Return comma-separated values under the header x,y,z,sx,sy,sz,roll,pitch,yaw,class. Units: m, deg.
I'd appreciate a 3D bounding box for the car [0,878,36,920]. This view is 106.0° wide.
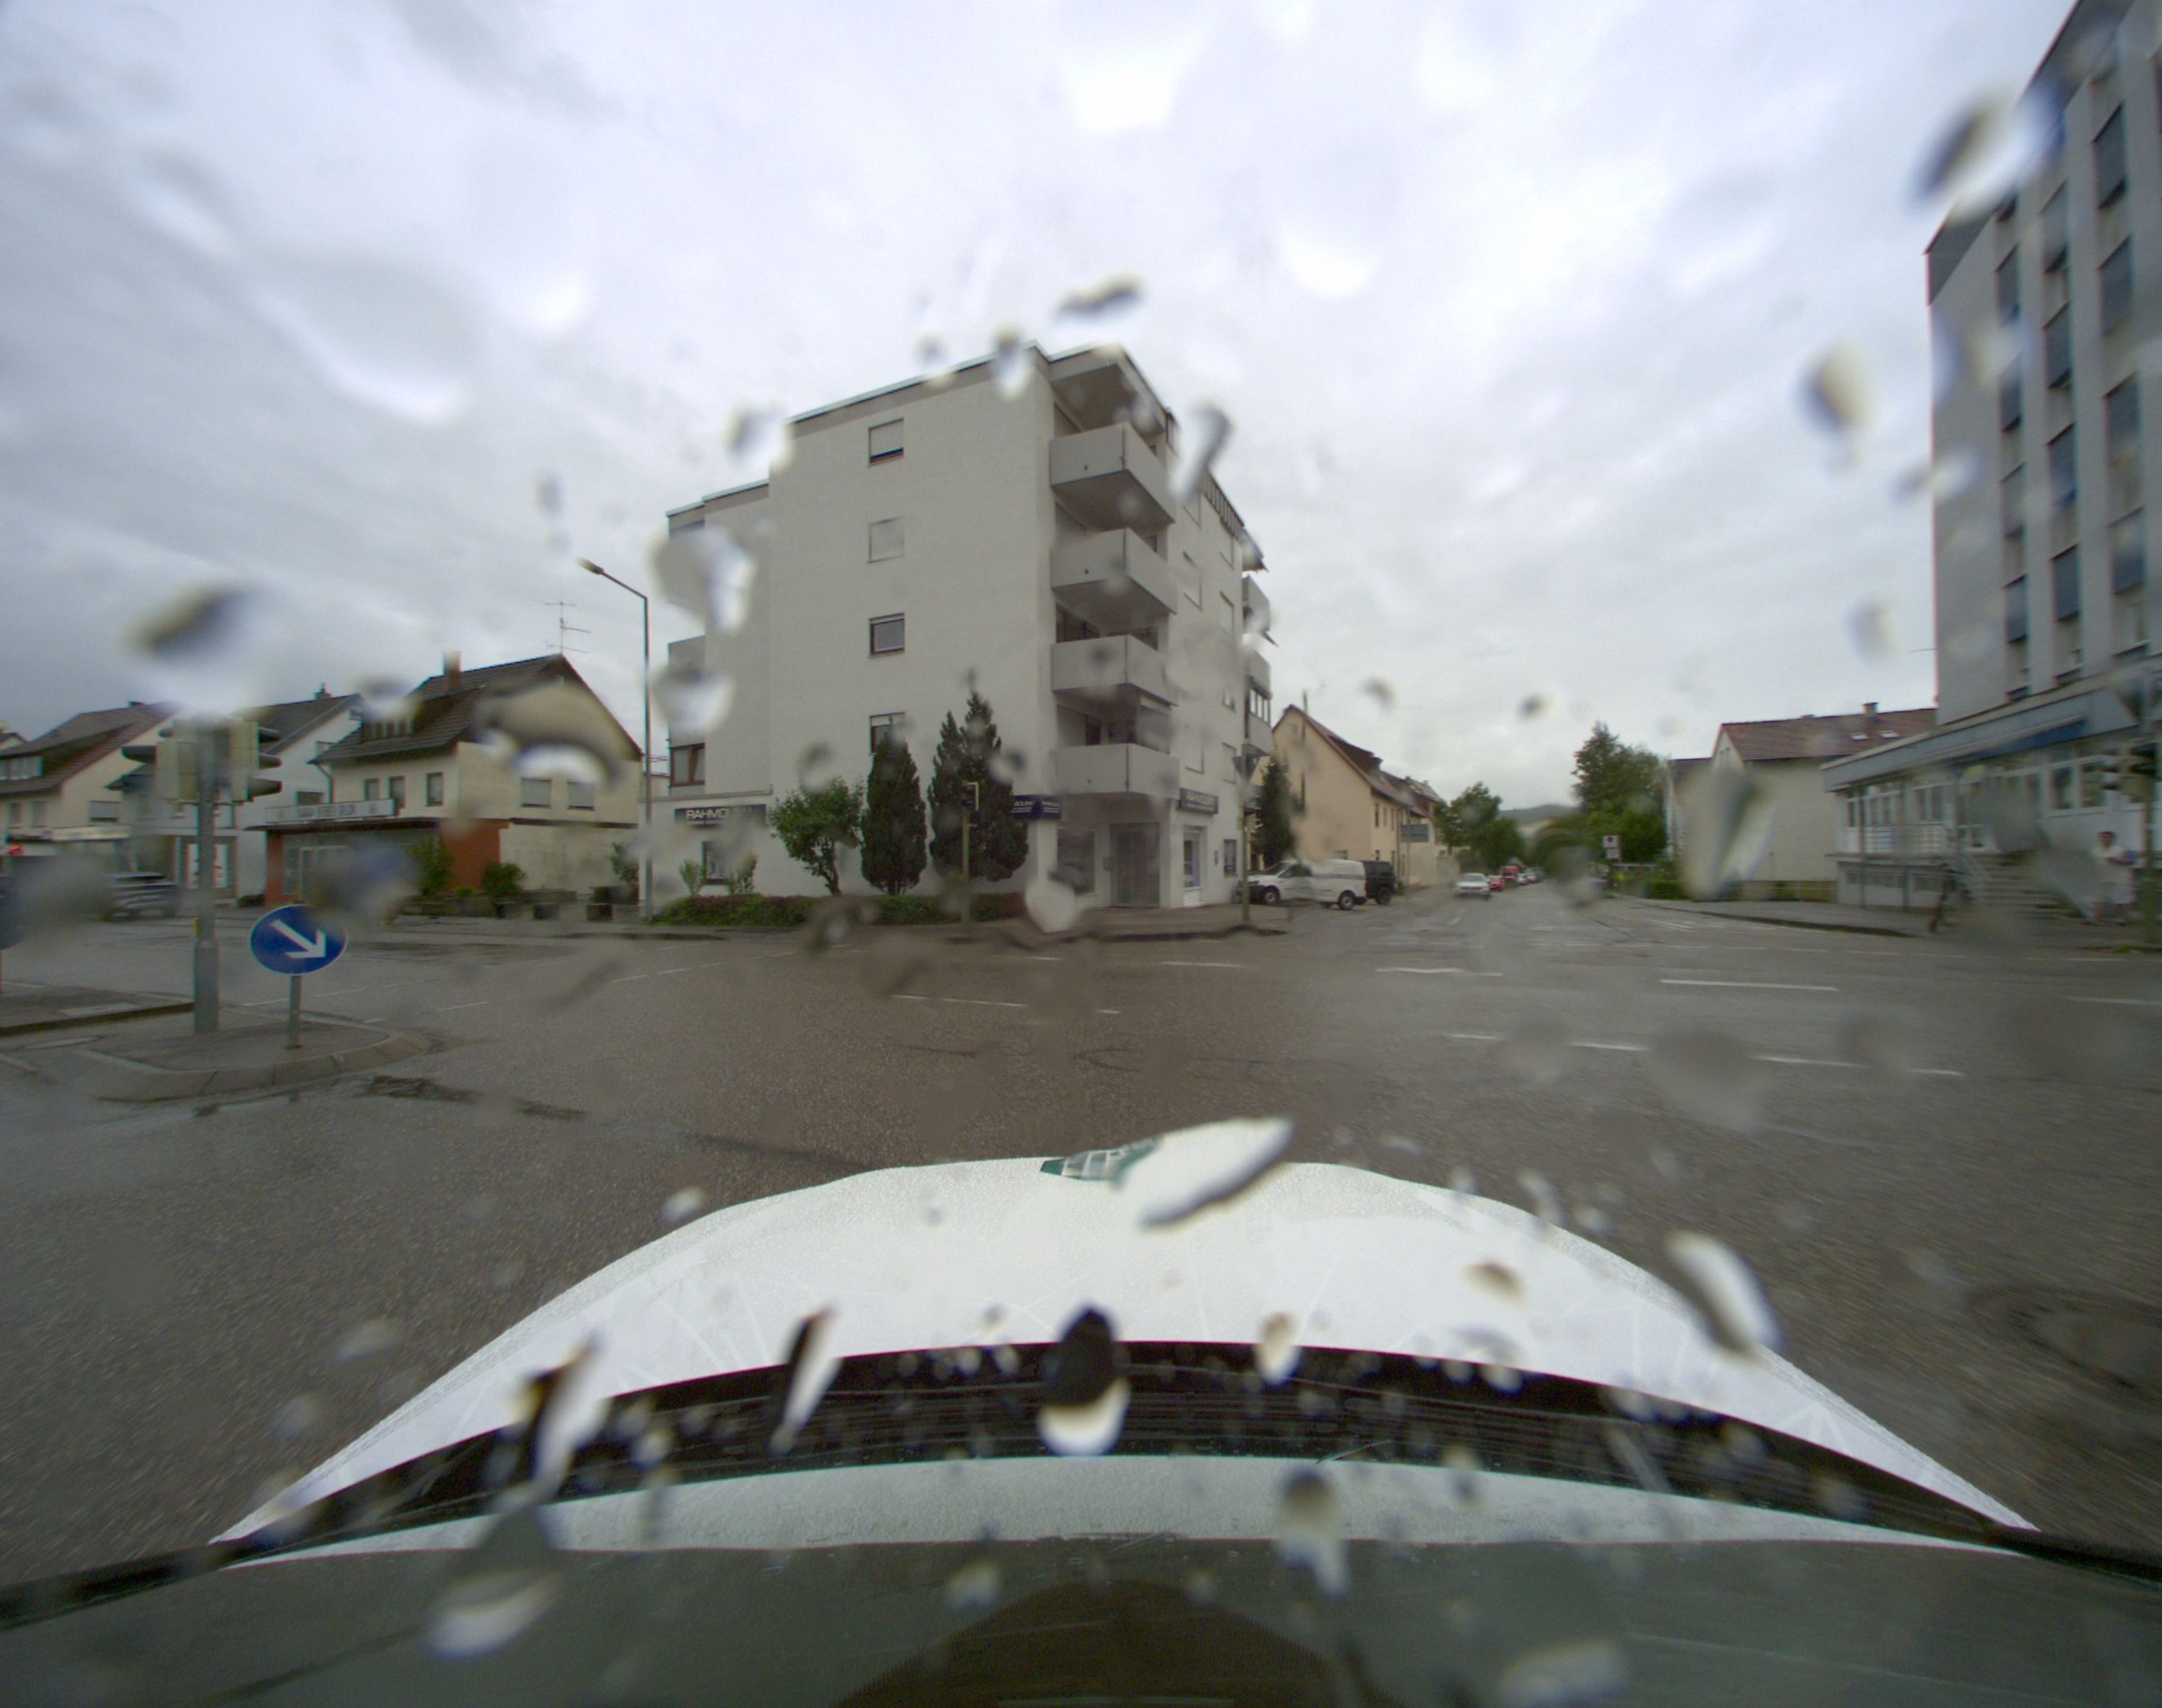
x,y,z,sx,sy,sz,roll,pitch,yaw,class
-47.723,1.985,35.104,4.902,1.695,2.054,-2,1,24,car

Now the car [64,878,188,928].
x,y,z,sx,sy,sz,roll,pitch,yaw,class
-35.739,1.811,30.467,4.732,1.642,1.893,-2,1,27,car

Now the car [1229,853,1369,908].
x,y,z,sx,sy,sz,roll,pitch,yaw,class
8.025,1.010,30.057,4.716,1.779,1.766,3,-4,-11,car

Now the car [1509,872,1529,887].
x,y,z,sx,sy,sz,roll,pitch,yaw,class
57.476,3.367,106.772,1.974,1.684,4.024,-3,-5,33,car

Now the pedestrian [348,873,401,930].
x,y,z,sx,sy,sz,roll,pitch,yaw,class
-19.854,1.324,22.895,0.980,1.568,0.759,-2,-3,27,pedestrian

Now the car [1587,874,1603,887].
x,y,z,sx,sy,sz,roll,pitch,yaw,class
82.482,4.271,130.643,1.974,2.014,4.025,-3,-3,33,car

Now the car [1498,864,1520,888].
x,y,z,sx,sy,sz,roll,pitch,yaw,class
51.424,2.707,97.876,2.196,2.769,5.758,-3,-3,27,car

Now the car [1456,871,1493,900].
x,y,z,sx,sy,sz,roll,pitch,yaw,class
22.068,1.791,45.687,1.751,1.523,4.023,-2,-3,26,car

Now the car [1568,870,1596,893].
x,y,z,sx,sy,sz,roll,pitch,yaw,class
45.378,2.508,73.766,1.974,2.014,4.025,-3,-3,33,car

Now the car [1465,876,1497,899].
x,y,z,sx,sy,sz,roll,pitch,yaw,class
27.556,2.323,56.020,1.750,1.519,4.219,-3,-3,28,car

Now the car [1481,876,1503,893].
x,y,z,sx,sy,sz,roll,pitch,yaw,class
39.308,2.904,77.979,1.751,1.519,4.022,-2,-3,25,car

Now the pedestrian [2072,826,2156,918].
x,y,z,sx,sy,sz,roll,pitch,yaw,class
18.978,0.354,14.981,0.648,1.652,0.649,-2,-5,28,pedestrian

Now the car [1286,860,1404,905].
x,y,z,sx,sy,sz,roll,pitch,yaw,class
11.730,1.272,36.285,4.609,1.889,1.955,0,-3,-11,car

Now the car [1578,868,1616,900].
x,y,z,sx,sy,sz,roll,pitch,yaw,class
34.536,2.060,54.473,1.974,2.014,4.024,-3,-5,33,car

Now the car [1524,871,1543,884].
x,y,z,sx,sy,sz,roll,pitch,yaw,class
66.566,3.491,119.827,1.974,1.706,4.024,-3,-5,34,car

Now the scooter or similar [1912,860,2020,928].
x,y,z,sx,sy,sz,roll,pitch,yaw,class
16.548,0.764,15.260,1.050,1.228,0.805,-1,-5,18,scooter or similar
